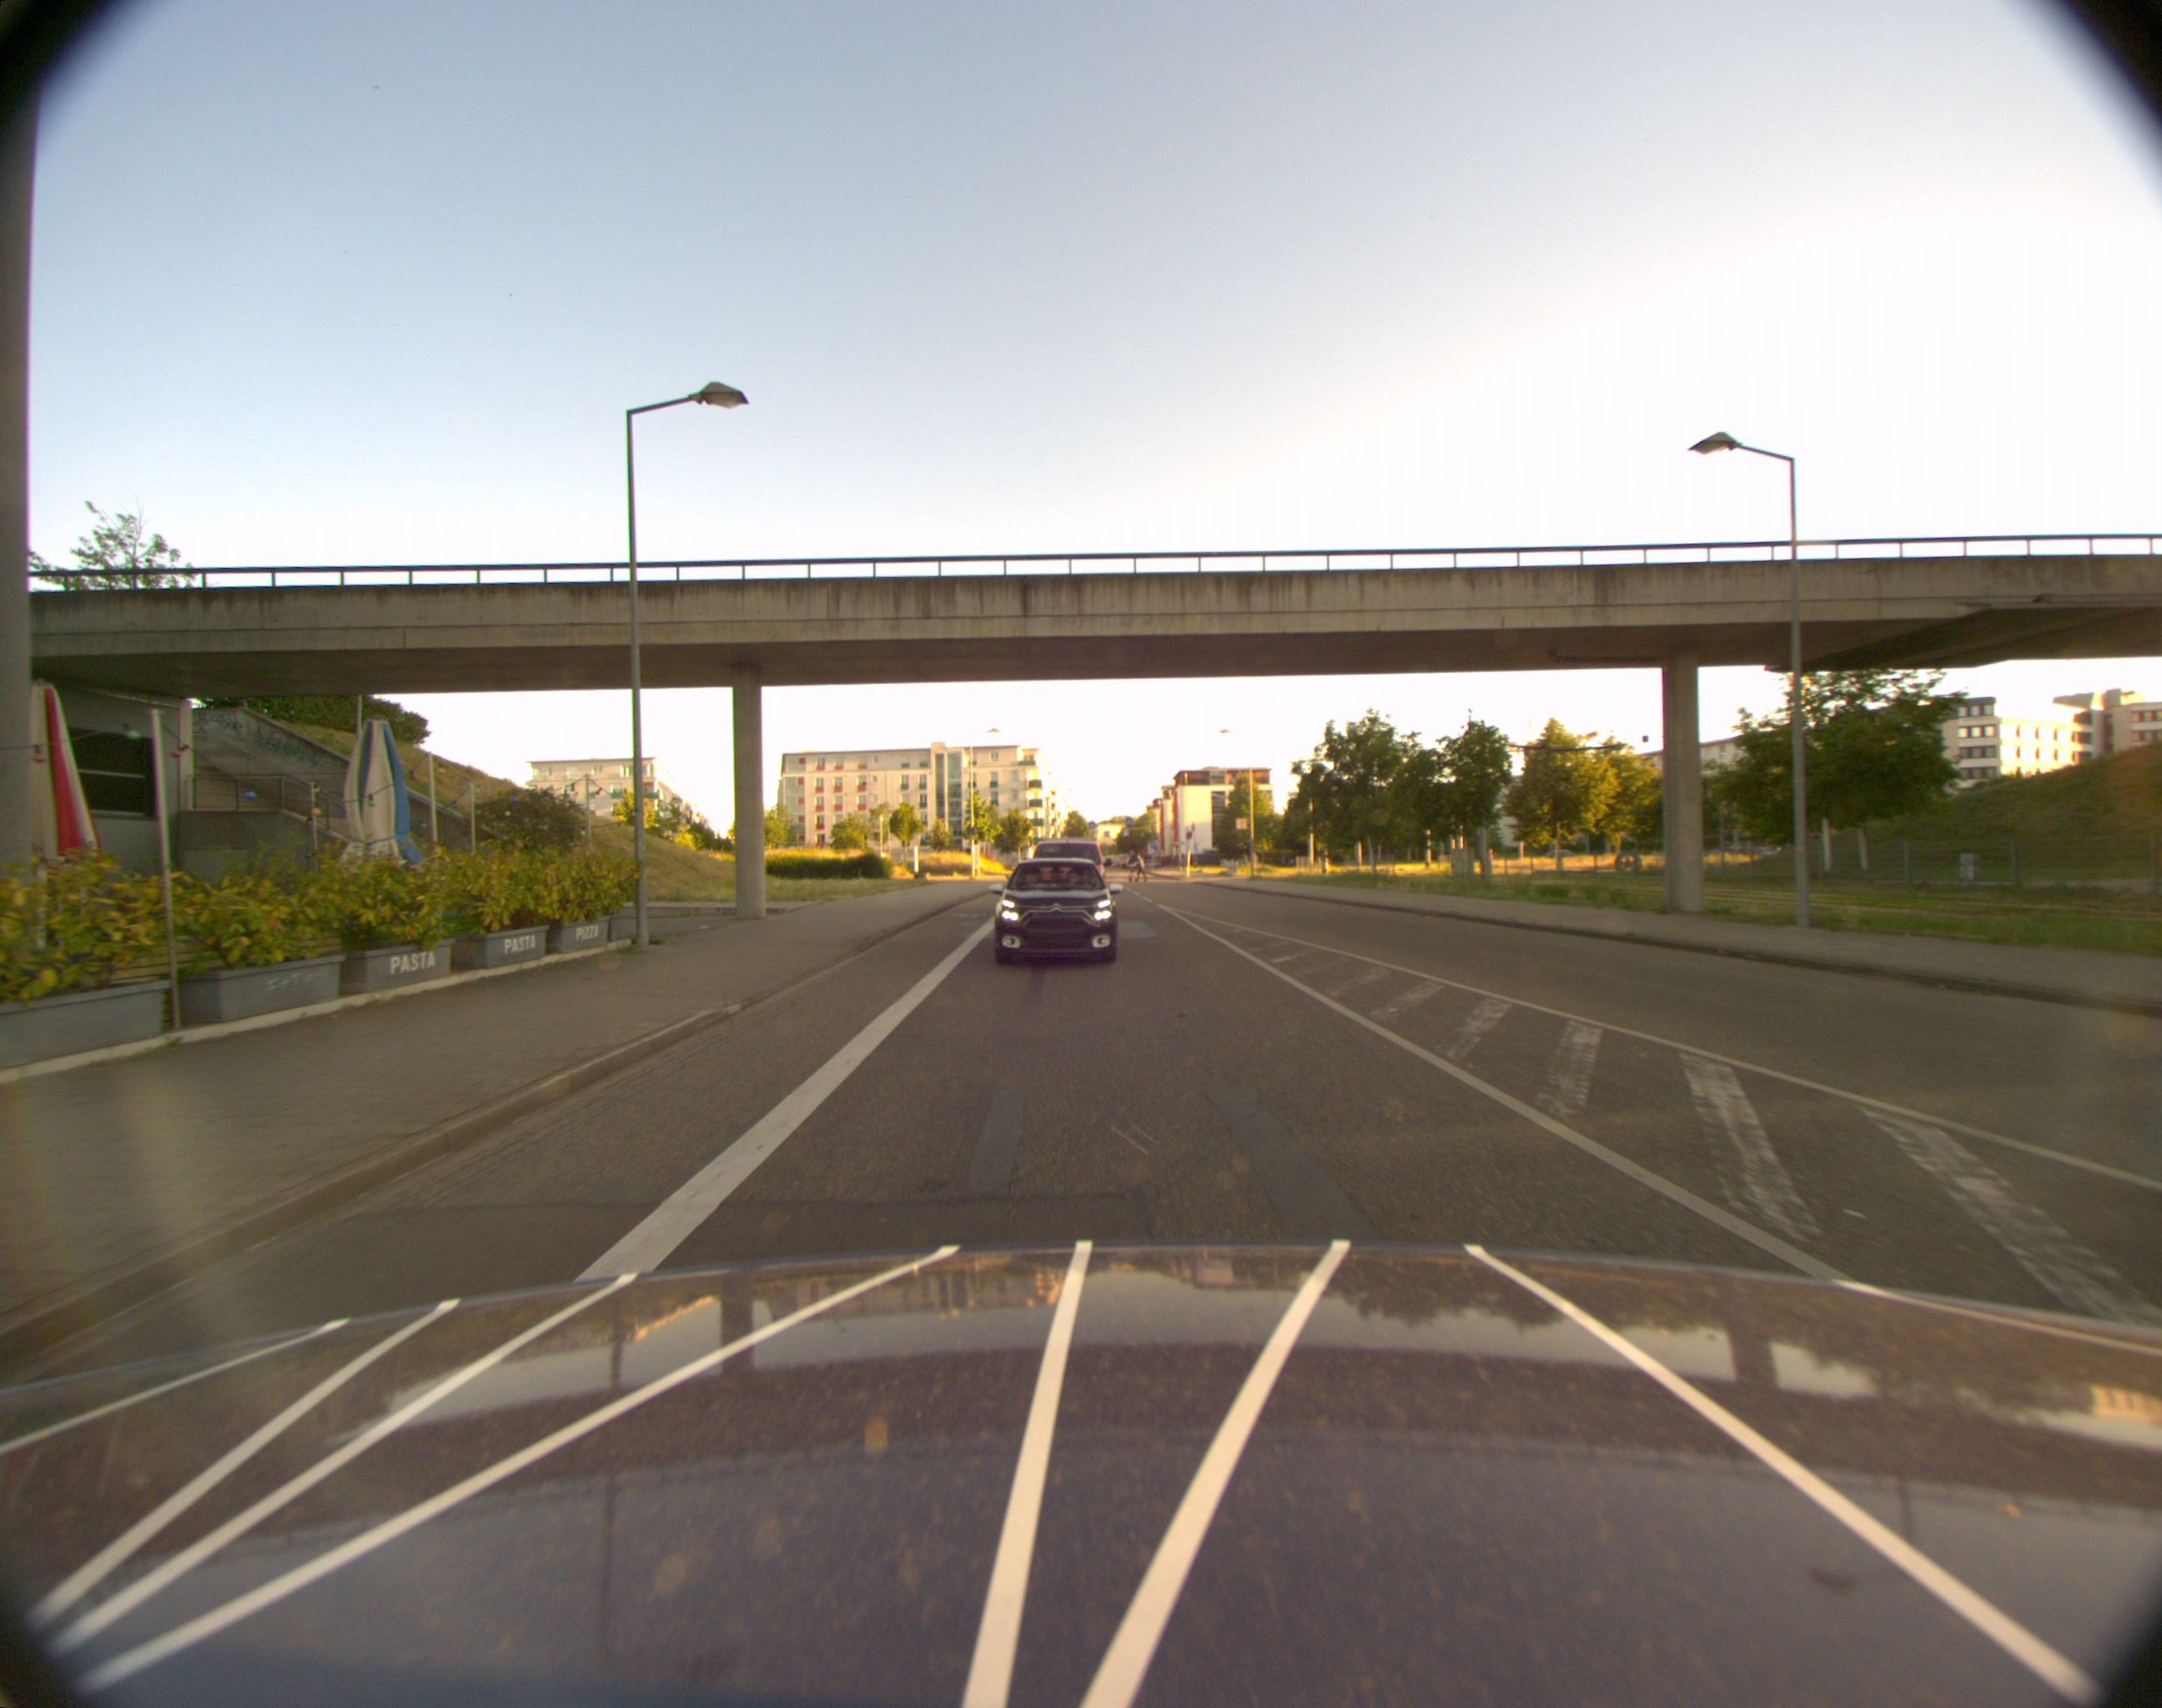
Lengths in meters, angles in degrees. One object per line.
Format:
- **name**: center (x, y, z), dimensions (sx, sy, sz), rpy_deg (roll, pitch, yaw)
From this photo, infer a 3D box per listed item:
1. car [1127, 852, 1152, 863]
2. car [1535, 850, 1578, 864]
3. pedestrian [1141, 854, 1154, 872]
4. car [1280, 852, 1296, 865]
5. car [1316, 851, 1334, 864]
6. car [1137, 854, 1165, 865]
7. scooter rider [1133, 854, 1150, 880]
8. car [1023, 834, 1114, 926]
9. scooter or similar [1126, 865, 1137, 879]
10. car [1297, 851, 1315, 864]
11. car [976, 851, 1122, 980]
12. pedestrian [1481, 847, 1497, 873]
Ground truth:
- **car**: center (11.607, 0.699, 151.021), dimensions (4.745, 2.002, 1.999), rpy_deg (-2, 1, -3)
- **car**: center (59.039, 0.357, 94.385), dimensions (3.995, 1.554, 2.001), rpy_deg (-1, 0, 7)
- **pedestrian**: center (7.763, 1.042, 88.626), dimensions (1.088, 2.002, 1.141), rpy_deg (-1, 1, 29)
- **car**: center (28.336, 0.548, 104.120), dimensions (1.869, 1.710, 3.848), rpy_deg (-1, 0, 12)
- **car**: center (33.193, 0.423, 103.504), dimensions (1.869, 1.710, 3.848), rpy_deg (-1, 0, 12)
- **car**: center (11.080, 0.866, 120.836), dimensions (4.387, 1.550, 1.839), rpy_deg (-1, 1, 2)
- **scooter rider**: center (3.783, 0.814, 47.241), dimensions (0.897, 1.568, 0.712), rpy_deg (-1, 0, 17)
- **car**: center (-0.305, 0.580, 19.251), dimensions (1.931, 1.979, 4.821), rpy_deg (-2, 0, -1)
- **scooter or similar**: center (3.160, 1.127, 47.439), dimensions (0.552, 0.890, 0.723), rpy_deg (0, 1, 17)
- **car**: center (30.680, 0.485, 103.769), dimensions (1.869, 1.710, 3.848), rpy_deg (-1, 0, 9)
- **car**: center (-0.447, 0.764, 11.387), dimensions (1.760, 1.543, 4.071), rpy_deg (-1, 0, -2)
- **pedestrian**: center (25.695, 0.359, 47.911), dimensions (0.779, 1.602, 0.417), rpy_deg (-1, 0, 12)
